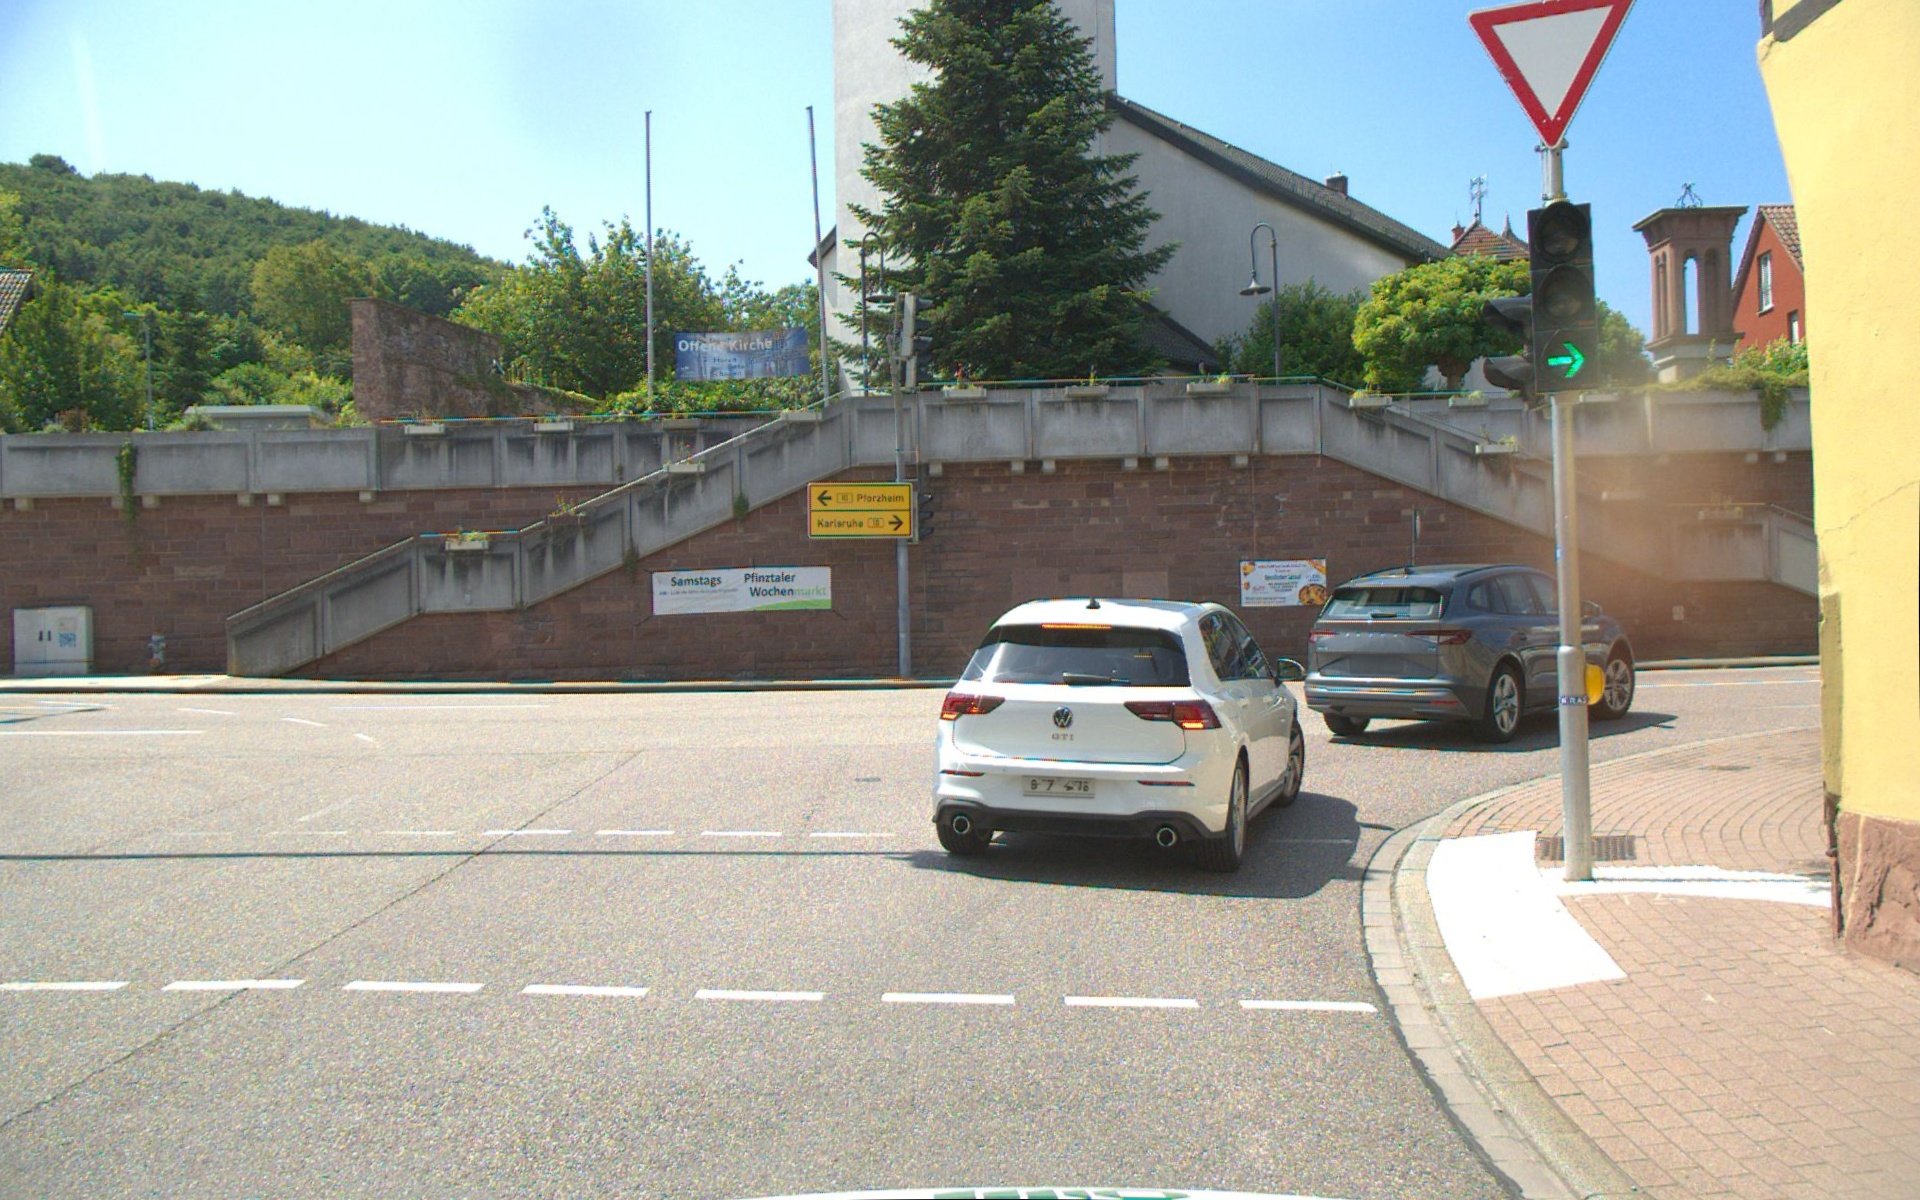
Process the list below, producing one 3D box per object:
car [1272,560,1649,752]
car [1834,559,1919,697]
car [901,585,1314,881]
[{"bbox_3d":[5.117,0.441,16.558,1.922,1.610,4.298,0,2,43],"label":"car"},{"bbox_3d":[12.116,0.260,18.601,3.784,1.484,1.783,-1,0,-13],"label":"car"},{"bbox_3d":[1.122,0.684,10.387,1.745,1.484,3.865,-2,0,18],"label":"car"}]
